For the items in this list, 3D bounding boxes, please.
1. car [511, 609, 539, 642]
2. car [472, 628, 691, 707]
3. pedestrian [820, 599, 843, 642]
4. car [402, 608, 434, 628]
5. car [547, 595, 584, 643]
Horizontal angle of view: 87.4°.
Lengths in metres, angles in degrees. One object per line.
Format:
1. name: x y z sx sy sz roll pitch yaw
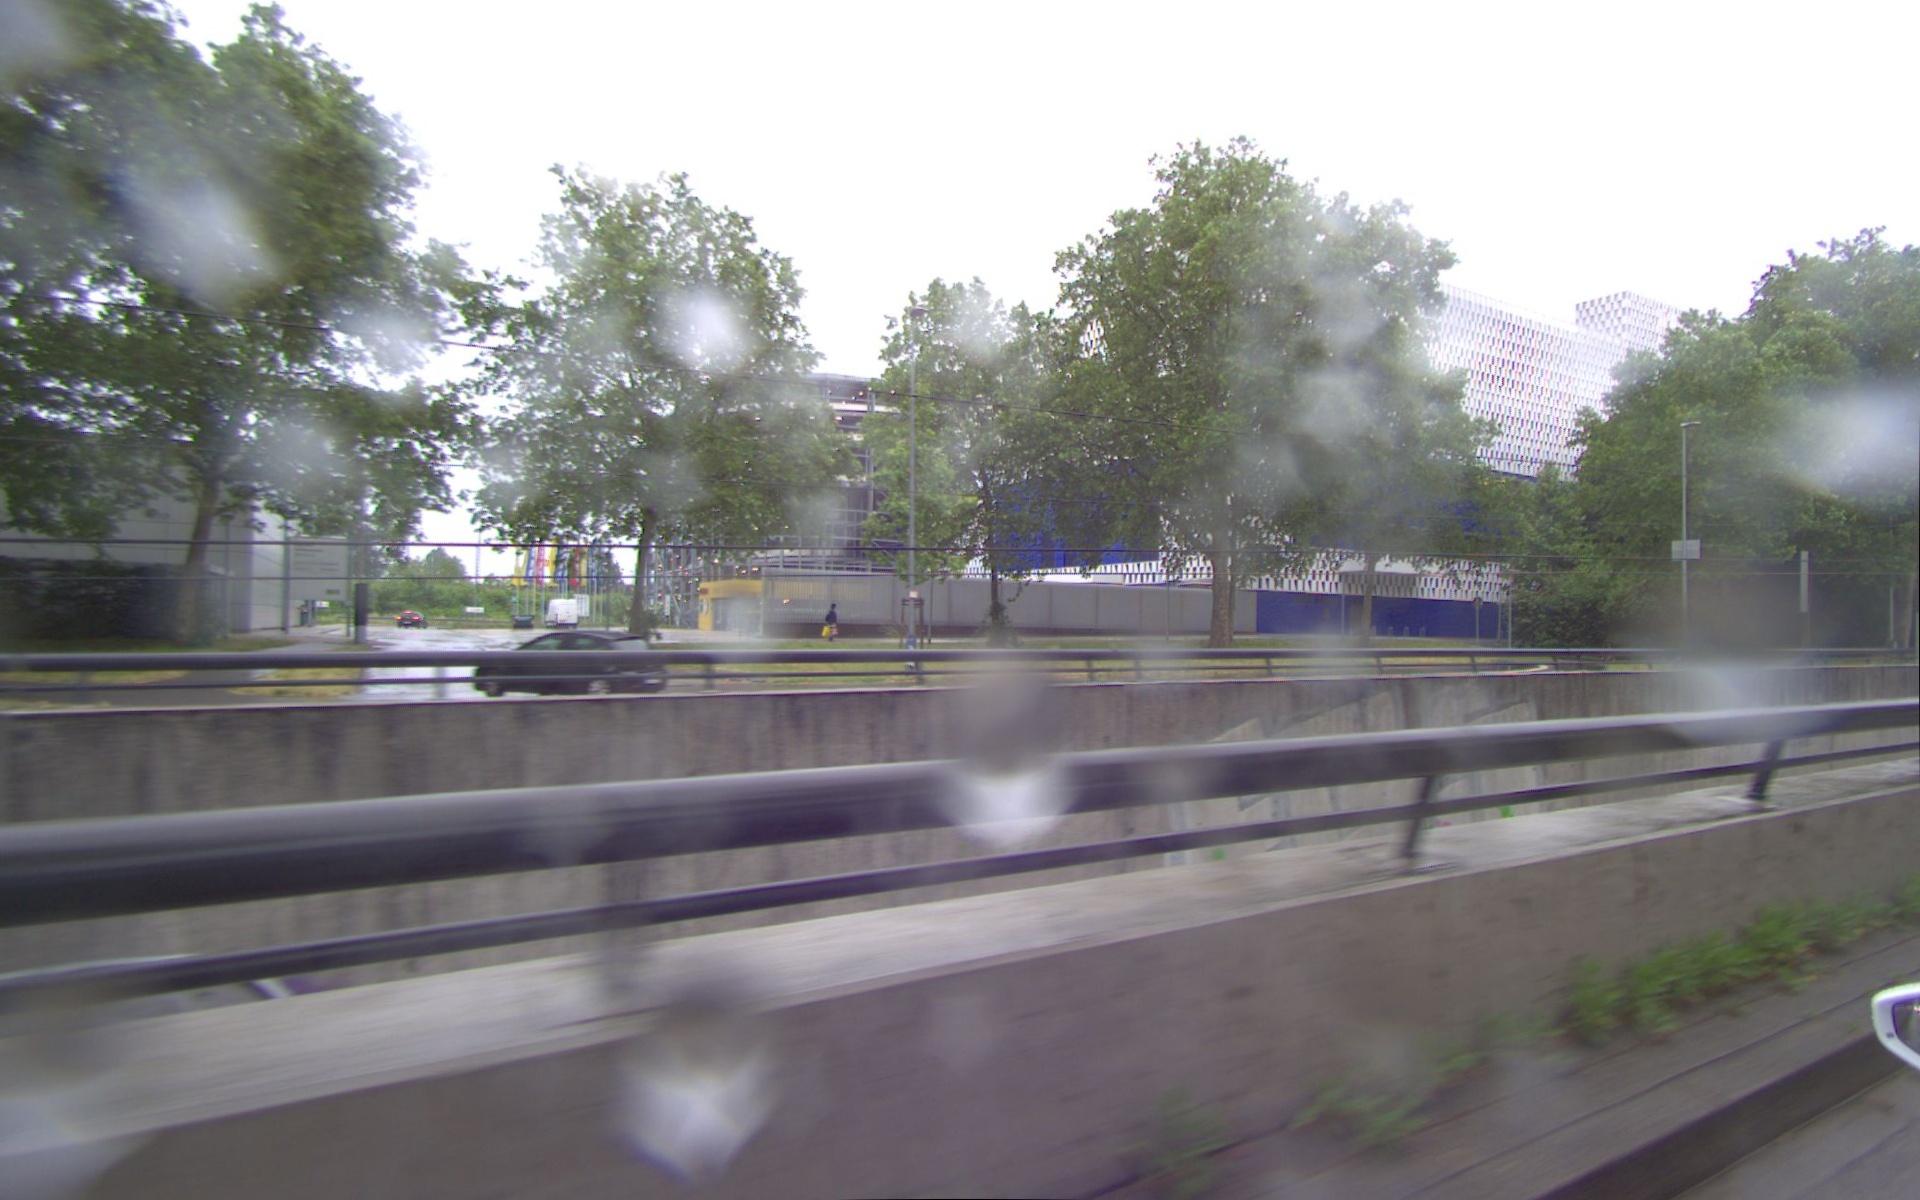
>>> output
1. car: -38.549 2.253 89.048 2.183 2.863 3.977 1 -1 -24
2. car: -7.744 1.338 20.727 3.717 1.422 2.001 1 -1 12
3. pedestrian: -6.268 0.987 49.011 0.780 2.040 0.997 1 1 -28
4. car: -47.854 1.573 88.739 1.971 1.639 3.980 1 -1 -21
5. car: -35.312 1.708 89.846 2.188 4.159 5.311 1 -1 -31
